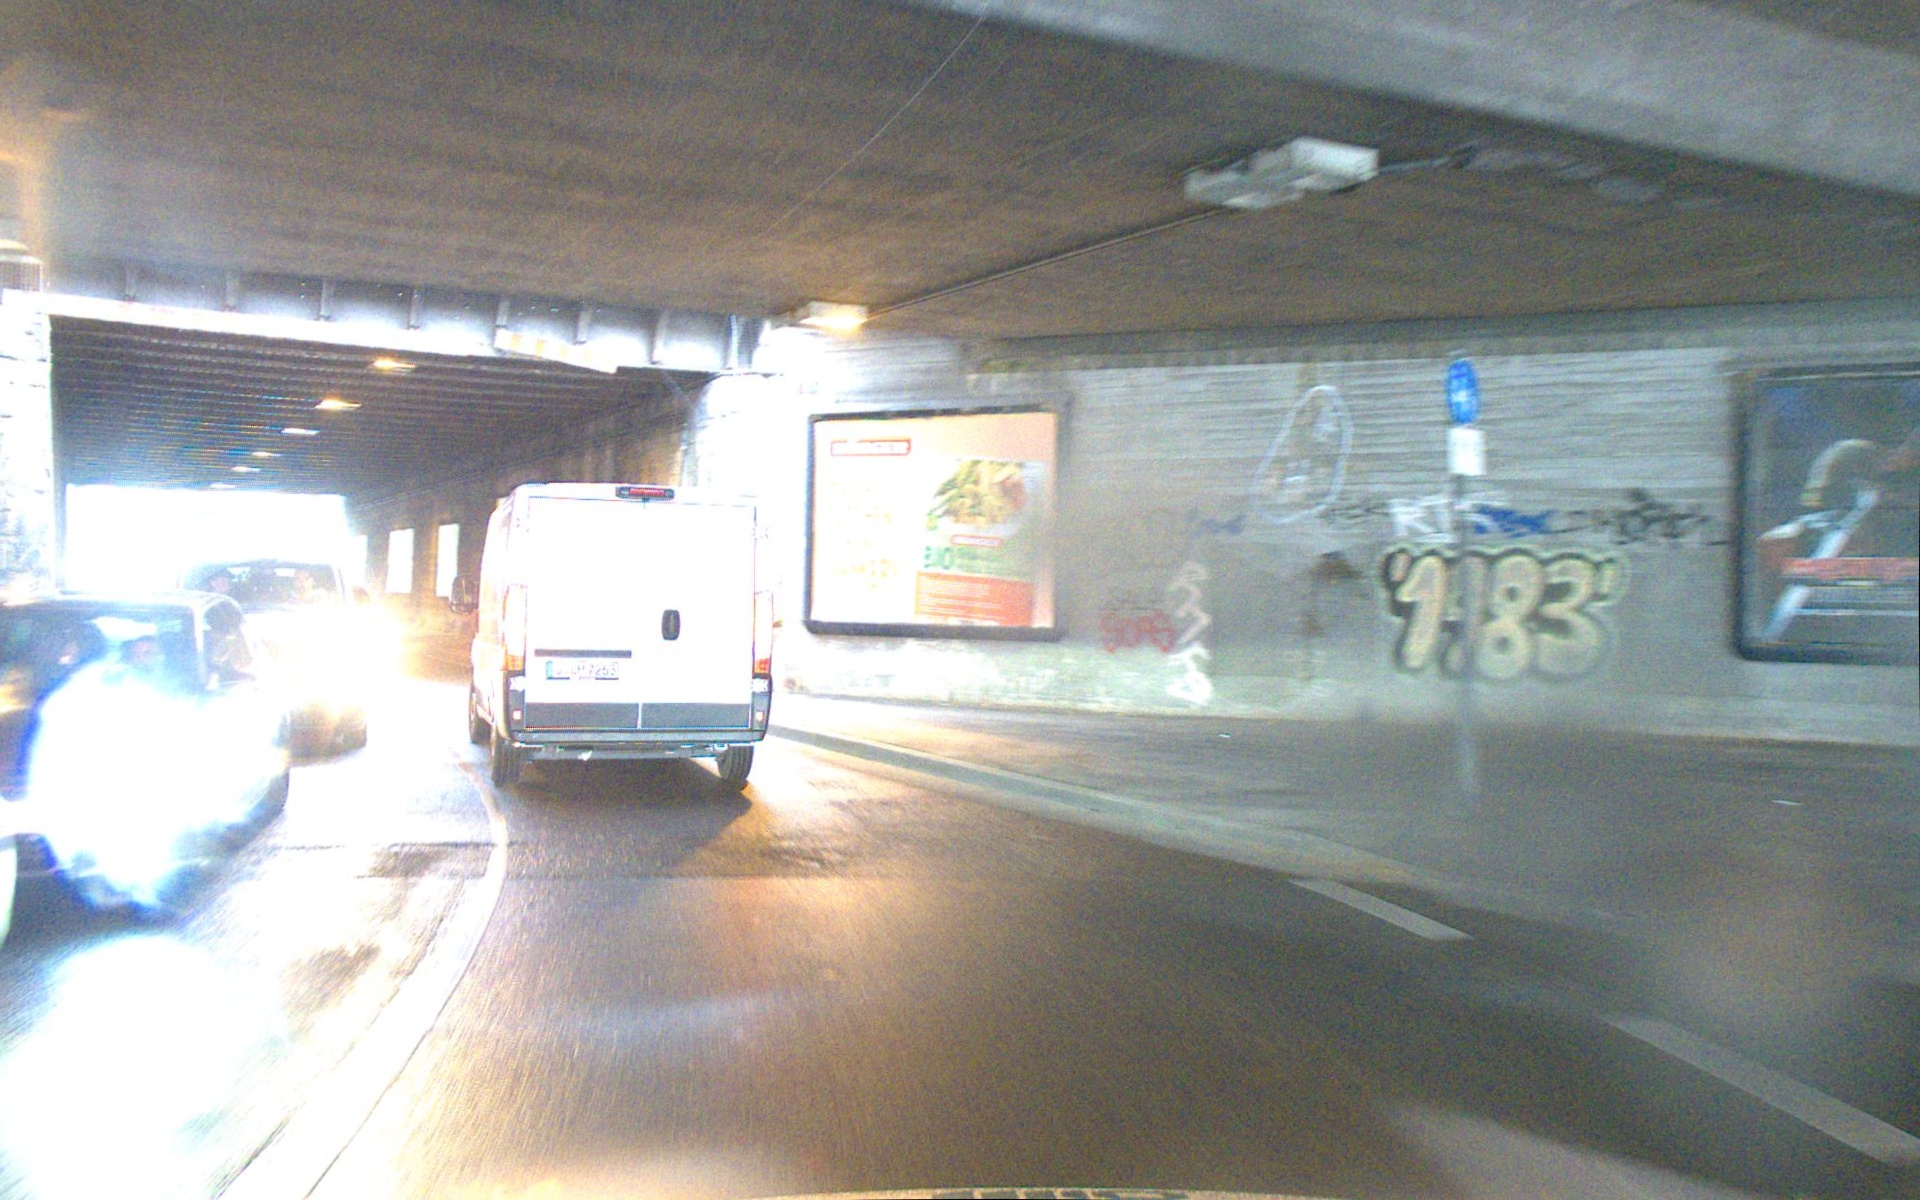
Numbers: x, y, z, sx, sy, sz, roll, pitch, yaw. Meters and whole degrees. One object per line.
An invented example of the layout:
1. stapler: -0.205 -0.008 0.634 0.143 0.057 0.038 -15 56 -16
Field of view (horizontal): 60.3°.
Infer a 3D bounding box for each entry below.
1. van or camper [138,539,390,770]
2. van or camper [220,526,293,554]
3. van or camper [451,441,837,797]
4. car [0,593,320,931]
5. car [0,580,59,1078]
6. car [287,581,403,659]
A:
1. van or camper: -6.983 0.438 16.371 1.969 1.901 5.096 -1 0 -26
2. van or camper: -55.385 -4.672 130.270 5.237 2.049 2.064 1 1 -23
3. van or camper: -2.931 0.169 14.197 2.657 2.459 4.877 0 -1 -18
4. car: -4.925 0.717 9.257 1.960 1.490 4.091 -1 0 -14
5. car: -3.705 0.722 3.264 1.957 1.557 4.491 0 0 -9
6. car: -12.376 0.351 33.163 1.814 1.463 4.069 0 1 -26
